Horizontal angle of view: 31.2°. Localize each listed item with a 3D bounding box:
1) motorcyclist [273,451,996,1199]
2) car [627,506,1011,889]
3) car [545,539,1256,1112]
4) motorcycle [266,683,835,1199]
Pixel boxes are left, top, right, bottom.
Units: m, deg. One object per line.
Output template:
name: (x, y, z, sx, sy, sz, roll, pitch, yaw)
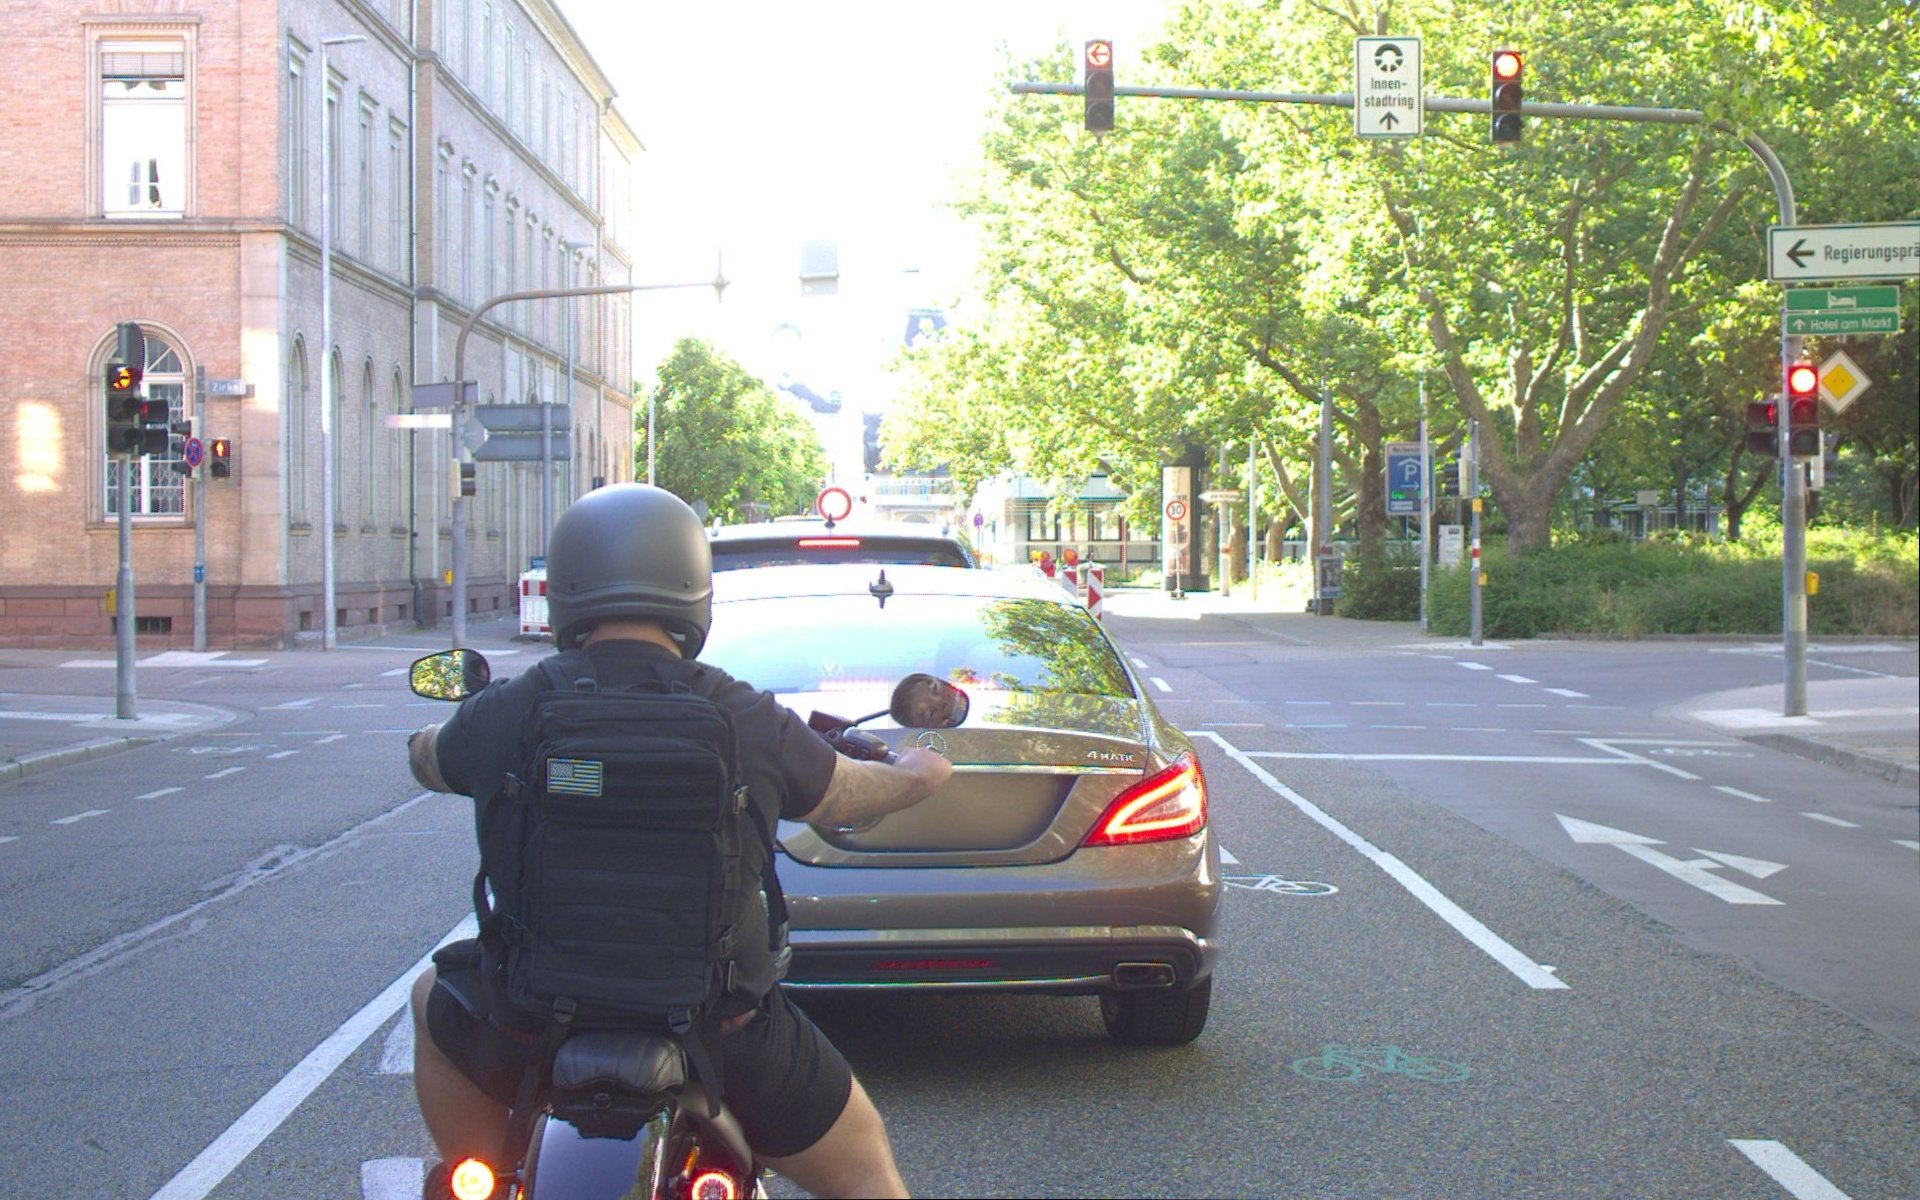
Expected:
motorcyclist: (-0.463, 0.597, 5.340, 0.990, 1.605, 1.120, 1, 0, -1)
car: (-0.635, 0.405, 16.986, 1.651, 1.646, 4.000, 1, 1, -1)
car: (-0.404, 0.569, 11.140, 1.824, 1.481, 4.334, 1, 1, -7)
motorcycle: (-0.559, 0.787, 5.372, 0.660, 1.236, 2.058, 1, 1, -1)
